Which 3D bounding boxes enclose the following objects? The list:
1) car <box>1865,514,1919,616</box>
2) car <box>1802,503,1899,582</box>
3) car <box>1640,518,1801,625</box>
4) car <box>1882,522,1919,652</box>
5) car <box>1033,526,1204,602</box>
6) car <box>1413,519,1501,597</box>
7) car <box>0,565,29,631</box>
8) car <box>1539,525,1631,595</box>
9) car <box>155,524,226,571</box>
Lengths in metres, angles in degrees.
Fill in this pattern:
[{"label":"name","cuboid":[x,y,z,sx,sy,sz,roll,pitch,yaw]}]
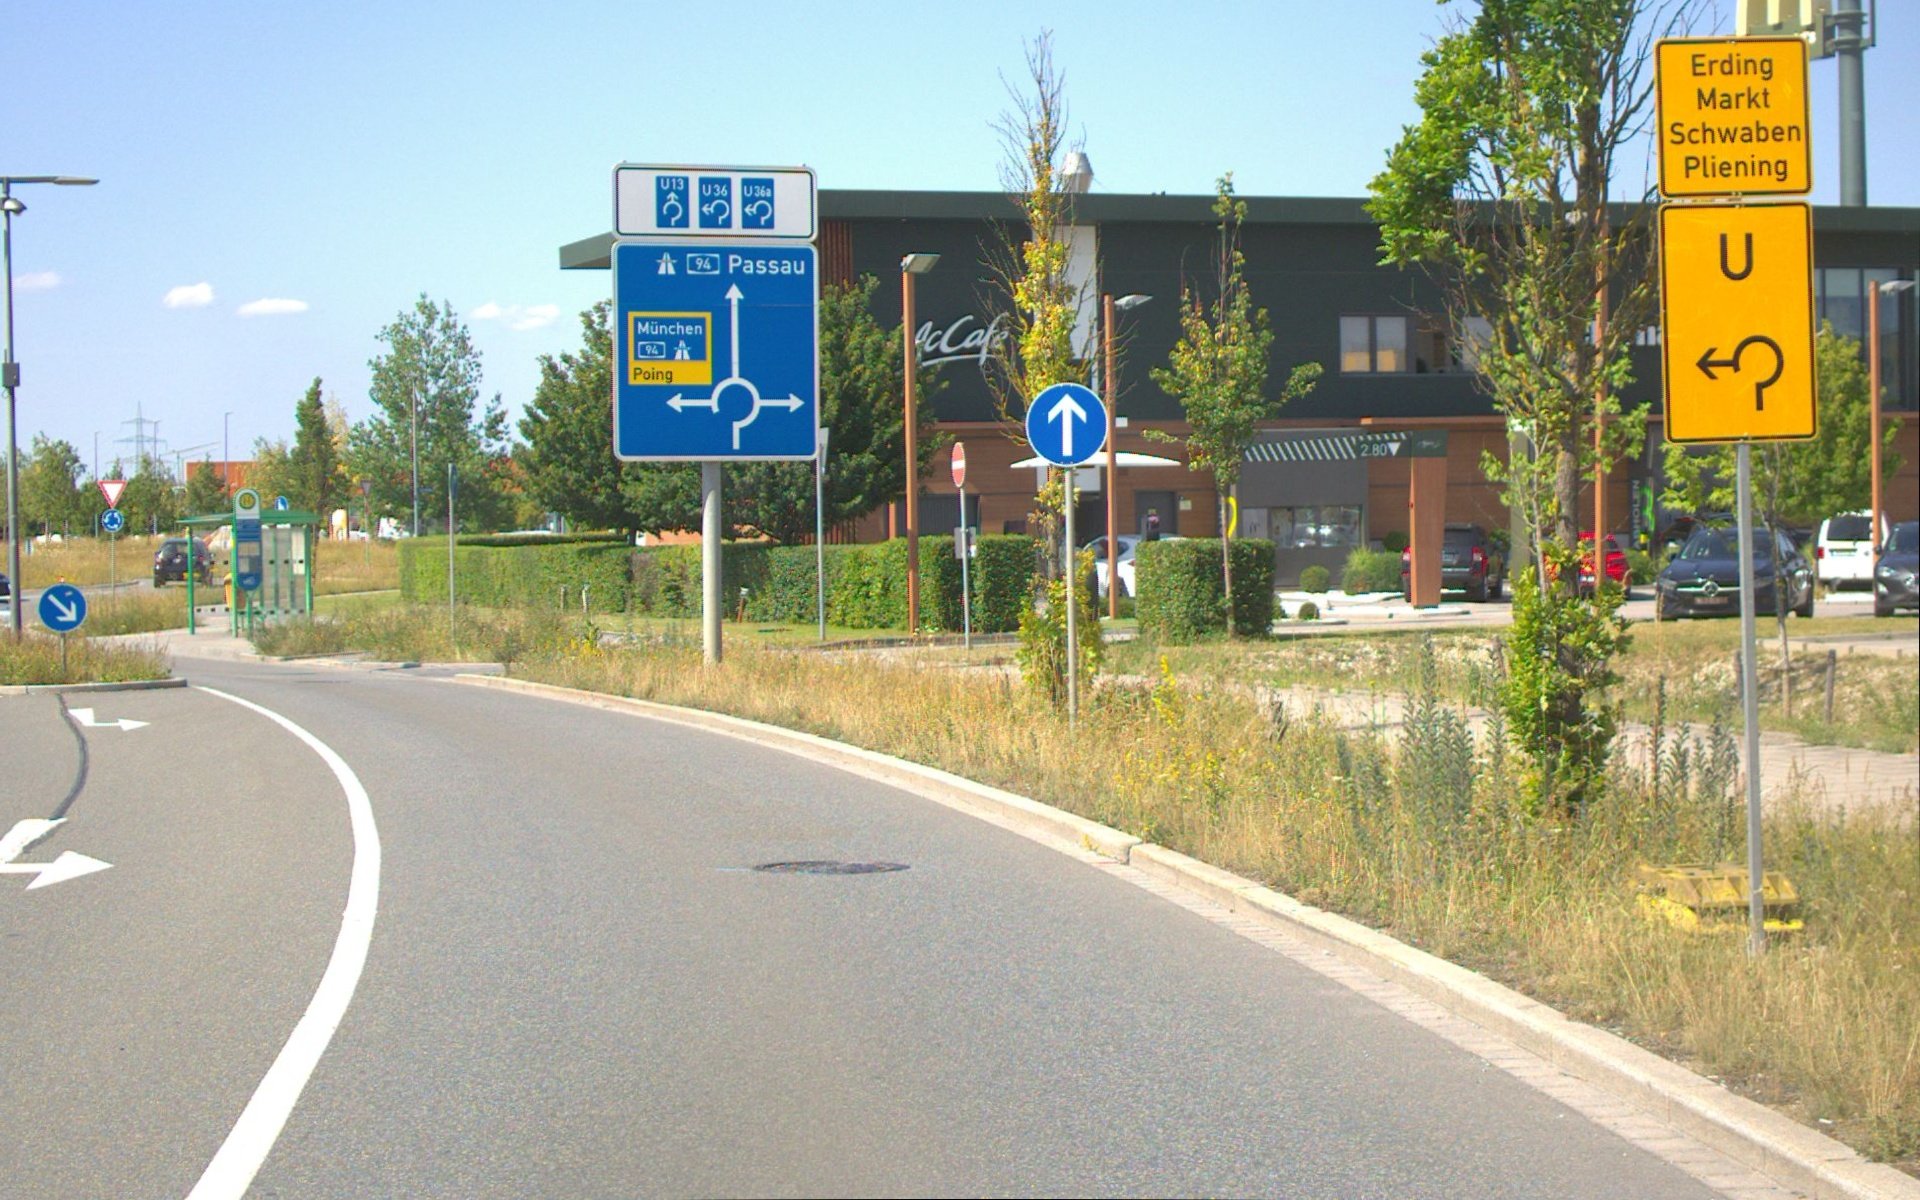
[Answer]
[{"label":"car","cuboid":[14.718,-0.566,51.534,1.787,1.457,4.165,-1,1,21]},{"label":"car","cuboid":[20.182,-1.320,77.835,1.794,1.696,3.996,-1,1,19]},{"label":"car","cuboid":[11.130,-0.447,50.126,1.699,1.457,4.165,-1,1,21]},{"label":"car","cuboid":[13.208,-0.216,39.818,4.524,1.485,1.869,-2,2,-15]},{"label":"car","cuboid":[3.089,-0.707,67.801,1.792,1.429,4.001,-2,1,-23]},{"label":"car","cuboid":[10.706,-0.926,74.038,1.793,1.599,3.999,-1,1,8]},{"label":"car","cuboid":[-21.844,-0.051,76.613,1.616,1.429,3.793,-1,1,-23]},{"label":"car","cuboid":[13.606,-0.893,75.017,1.793,1.429,3.999,-1,1,8]},{"label":"car","cuboid":[-24.371,-1.661,108.984,1.616,1.429,3.793,-1,1,-4]}]
